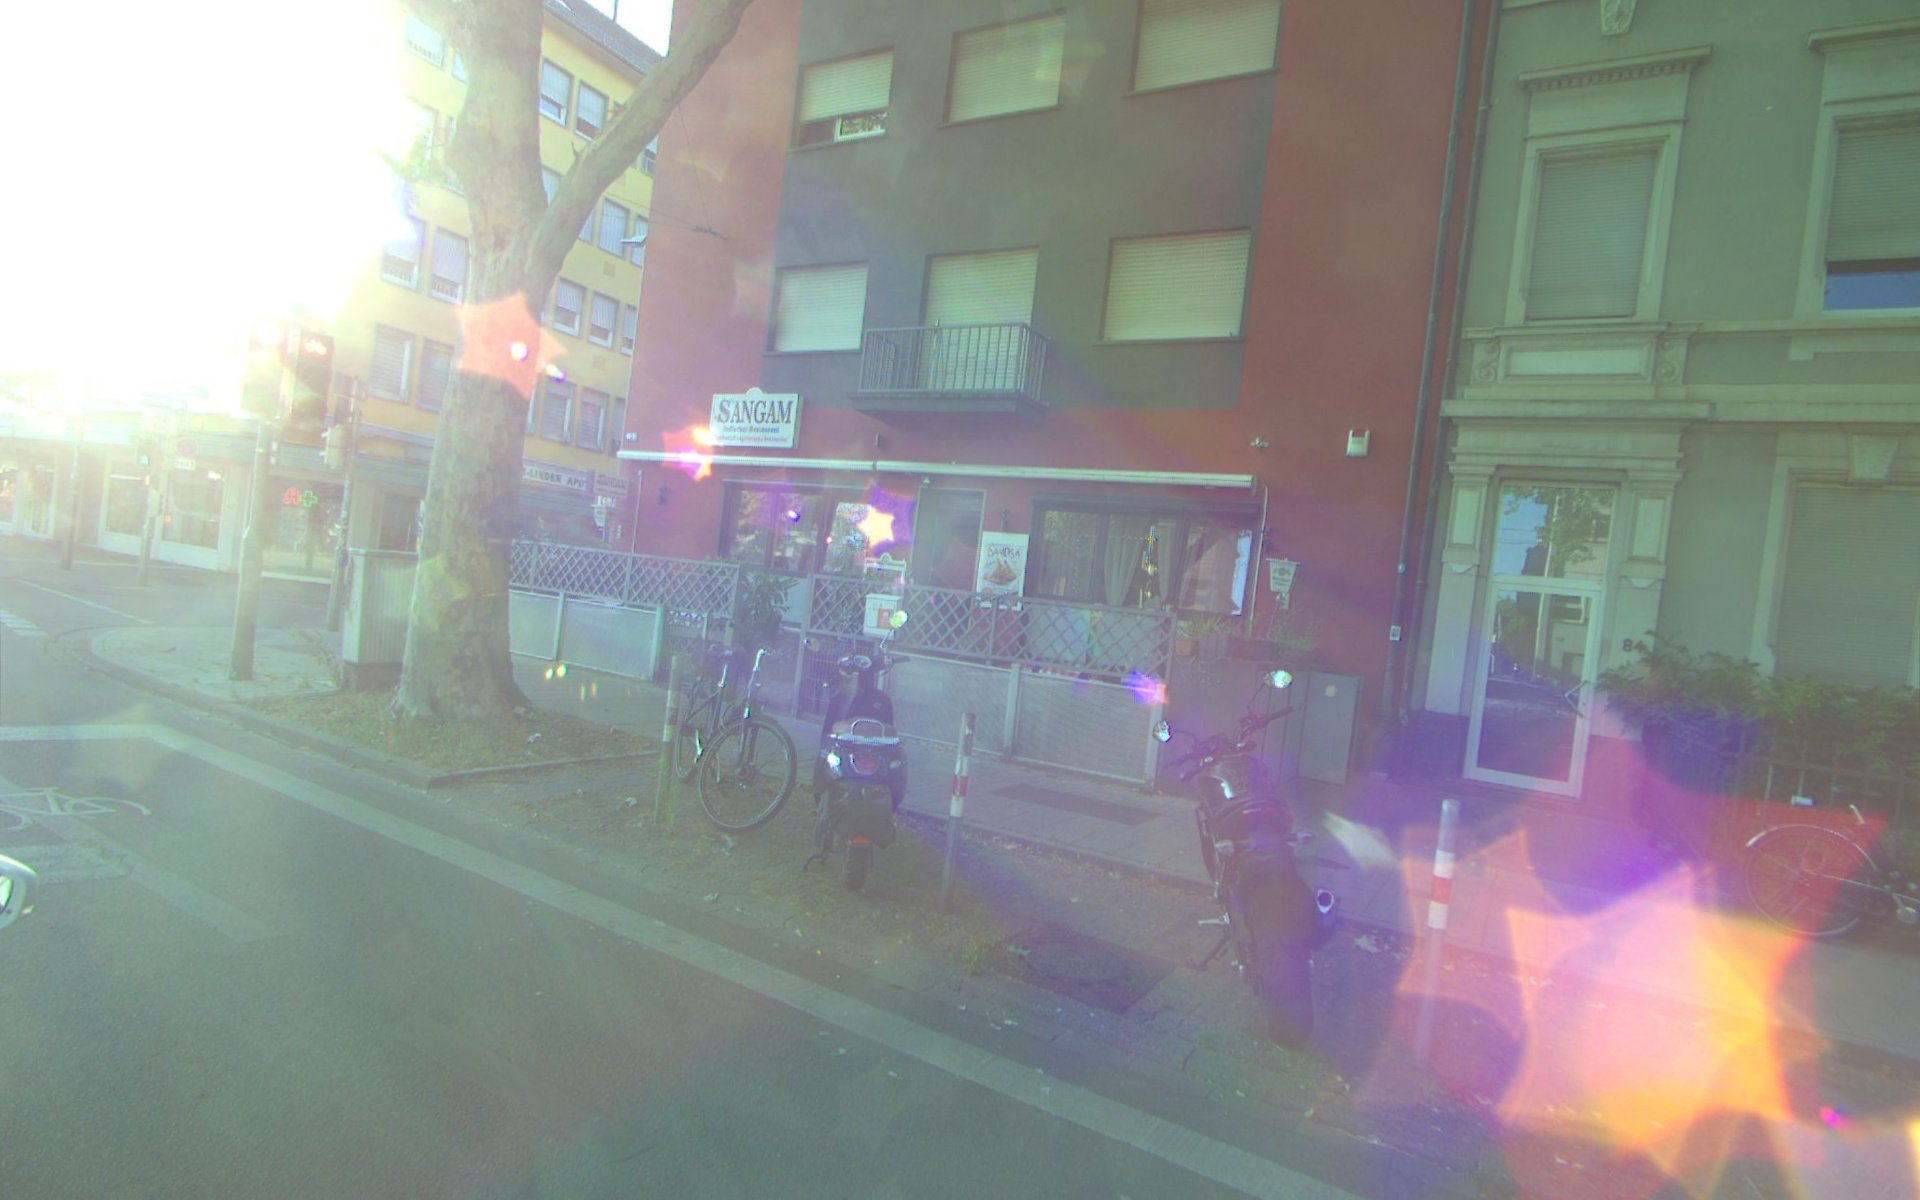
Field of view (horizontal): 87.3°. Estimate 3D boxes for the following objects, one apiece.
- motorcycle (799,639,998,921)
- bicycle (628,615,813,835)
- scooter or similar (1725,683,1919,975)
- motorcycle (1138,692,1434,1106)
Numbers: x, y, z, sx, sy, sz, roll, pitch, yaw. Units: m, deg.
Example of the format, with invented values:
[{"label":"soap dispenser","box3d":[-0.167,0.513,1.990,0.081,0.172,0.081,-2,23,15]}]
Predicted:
[{"label":"motorcycle","box3d":[-0.437,0.908,5.725,0.772,1.126,1.885,6,2,-11]},{"label":"bicycle","box3d":[-1.689,0.779,6.847,0.614,1.126,1.784,5,3,-31]},{"label":"scooter or similar","box3d":[5.869,1.367,5.485,2.502,1.488,0.665,7,1,32]},{"label":"motorcycle","box3d":[1.326,1.148,4.613,0.651,1.125,2.212,7,2,4]}]
